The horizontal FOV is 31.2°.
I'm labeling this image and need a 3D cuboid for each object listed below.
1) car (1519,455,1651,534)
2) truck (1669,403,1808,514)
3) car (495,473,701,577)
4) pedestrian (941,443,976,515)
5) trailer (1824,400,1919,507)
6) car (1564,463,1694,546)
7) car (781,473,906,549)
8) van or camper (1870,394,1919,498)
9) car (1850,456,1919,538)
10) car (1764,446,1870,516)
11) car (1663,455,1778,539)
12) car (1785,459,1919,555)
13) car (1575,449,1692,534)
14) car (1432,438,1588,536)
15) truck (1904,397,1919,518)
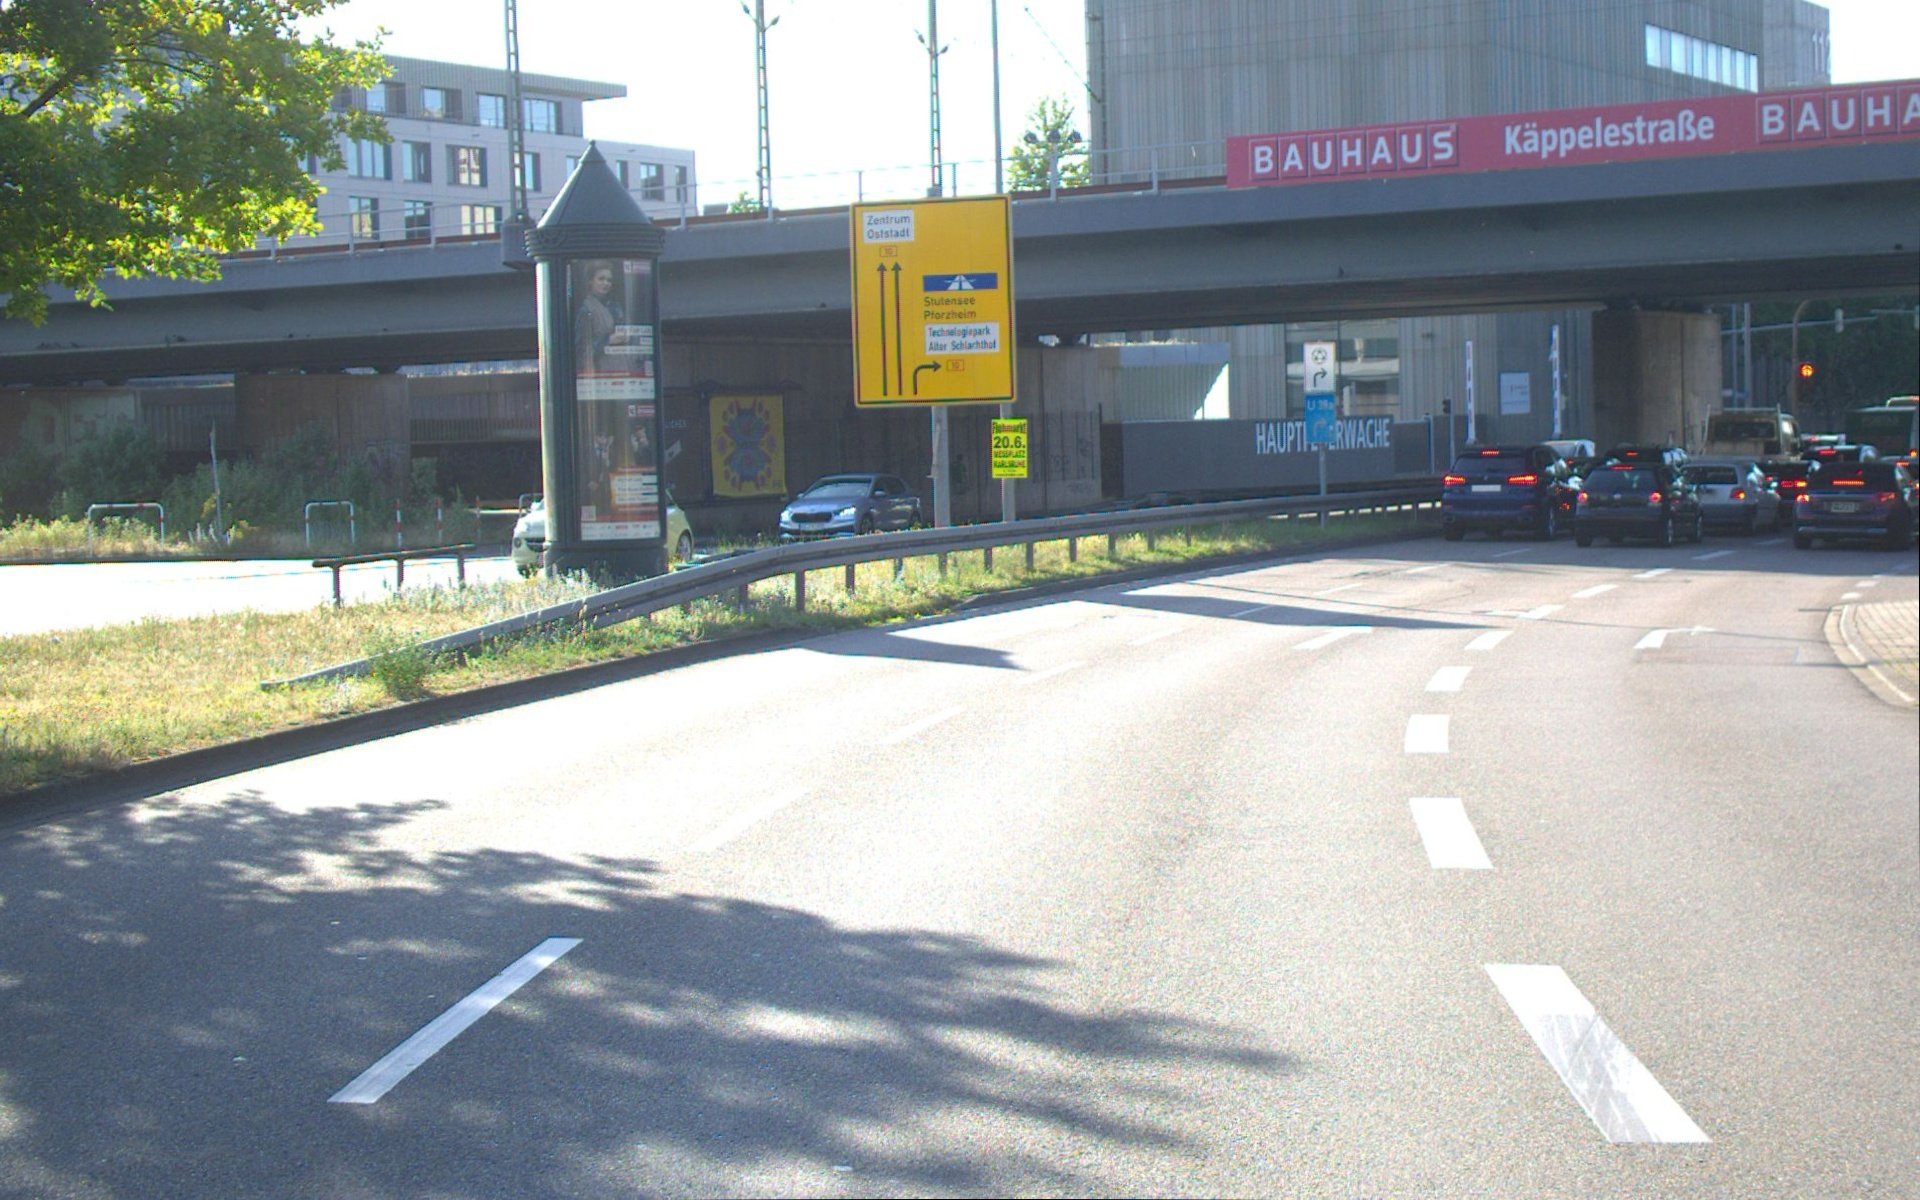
[{"bbox_3d":[12.699,-2.149,69.710,1.843,1.435,3.671,-3,1,22],"label":"car"},{"bbox_3d":[18.533,-3.347,81.688,2.031,2.547,5.530,0,2,26],"label":"truck"},{"bbox_3d":[-5.341,-1.122,51.223,1.742,1.457,3.763,-1,1,16],"label":"car"},{"bbox_3d":[-0.052,-3.248,92.250,0.695,1.897,0.664,0,2,27],"label":"pedestrian"},{"bbox_3d":[22.128,-3.504,82.455,1.867,2.456,3.827,-1,1,27],"label":"trailer"},{"bbox_3d":[11.675,-1.672,59.827,1.583,1.403,3.828,1,2,21],"label":"car"},{"bbox_3d":[-2.300,-1.780,69.068,1.673,1.457,4.104,0,1,10],"label":"car"},{"bbox_3d":[24.841,-3.895,87.227,1.997,2.561,5.909,1,2,29],"label":"van or camper"},{"bbox_3d":[18.333,-1.998,65.951,1.775,1.490,3.827,-1,1,25],"label":"car"},{"bbox_3d":[19.146,-2.651,76.676,1.584,1.527,3.827,1,2,25],"label":"car"},{"bbox_3d":[14.369,-1.959,64.853,1.548,1.418,3.414,-3,2,21],"label":"car"},{"bbox_3d":[15.350,-1.618,58.781,1.742,1.449,4.601,1,4,22],"label":"car"},{"bbox_3d":[14.832,-2.396,75.529,1.843,1.713,3.996,-3,1,20],"label":"car"},{"bbox_3d":[10.185,-2.085,63.416,1.831,1.732,4.456,0,2,23],"label":"car"},{"bbox_3d":[21.474,-3.023,73.020,2.114,2.510,4.396,1,3,24],"label":"truck"}]
